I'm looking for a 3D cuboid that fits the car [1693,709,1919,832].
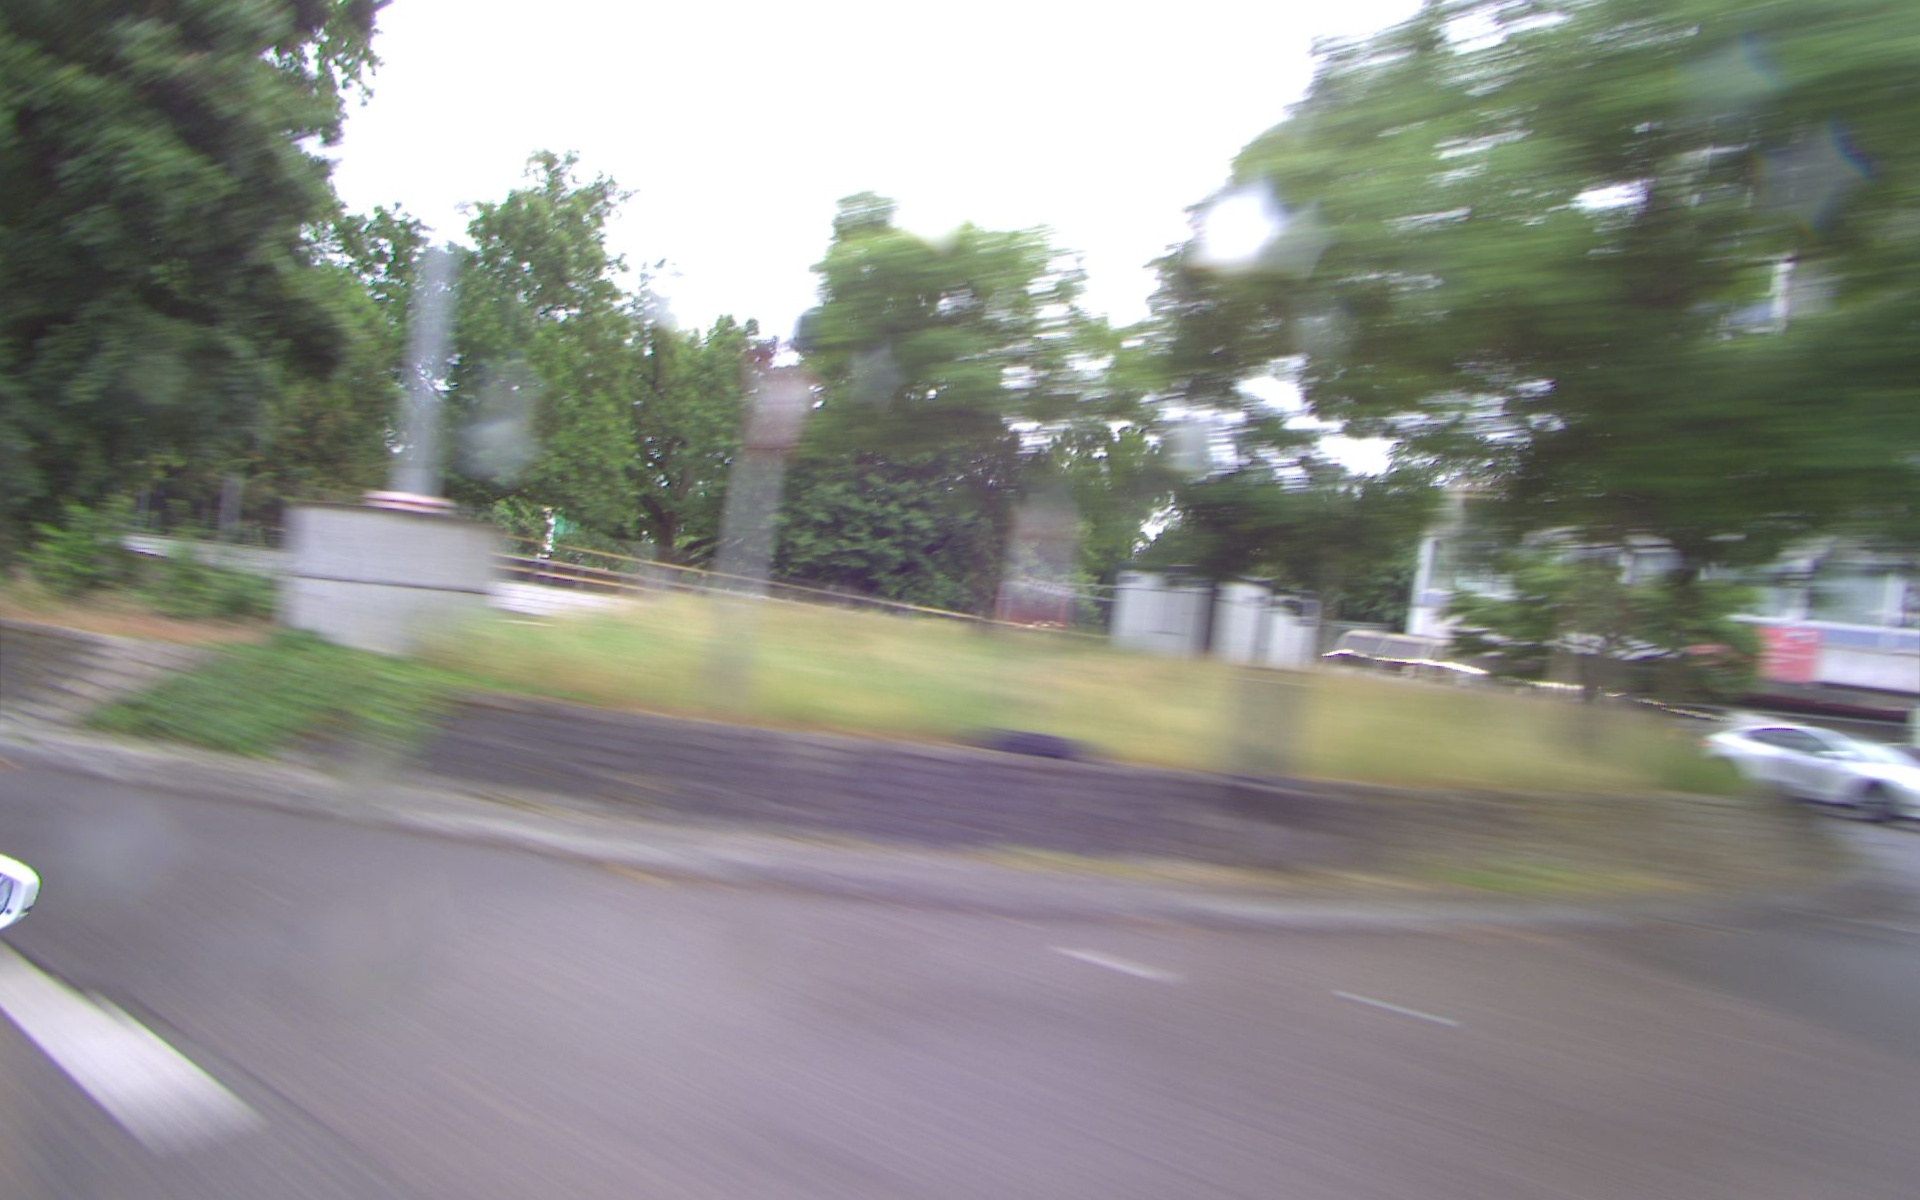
[{"bbox_3d":[17.179,3.298,19.491,1.965,1.648,4.756,8,-1,-6],"label":"car"}]
